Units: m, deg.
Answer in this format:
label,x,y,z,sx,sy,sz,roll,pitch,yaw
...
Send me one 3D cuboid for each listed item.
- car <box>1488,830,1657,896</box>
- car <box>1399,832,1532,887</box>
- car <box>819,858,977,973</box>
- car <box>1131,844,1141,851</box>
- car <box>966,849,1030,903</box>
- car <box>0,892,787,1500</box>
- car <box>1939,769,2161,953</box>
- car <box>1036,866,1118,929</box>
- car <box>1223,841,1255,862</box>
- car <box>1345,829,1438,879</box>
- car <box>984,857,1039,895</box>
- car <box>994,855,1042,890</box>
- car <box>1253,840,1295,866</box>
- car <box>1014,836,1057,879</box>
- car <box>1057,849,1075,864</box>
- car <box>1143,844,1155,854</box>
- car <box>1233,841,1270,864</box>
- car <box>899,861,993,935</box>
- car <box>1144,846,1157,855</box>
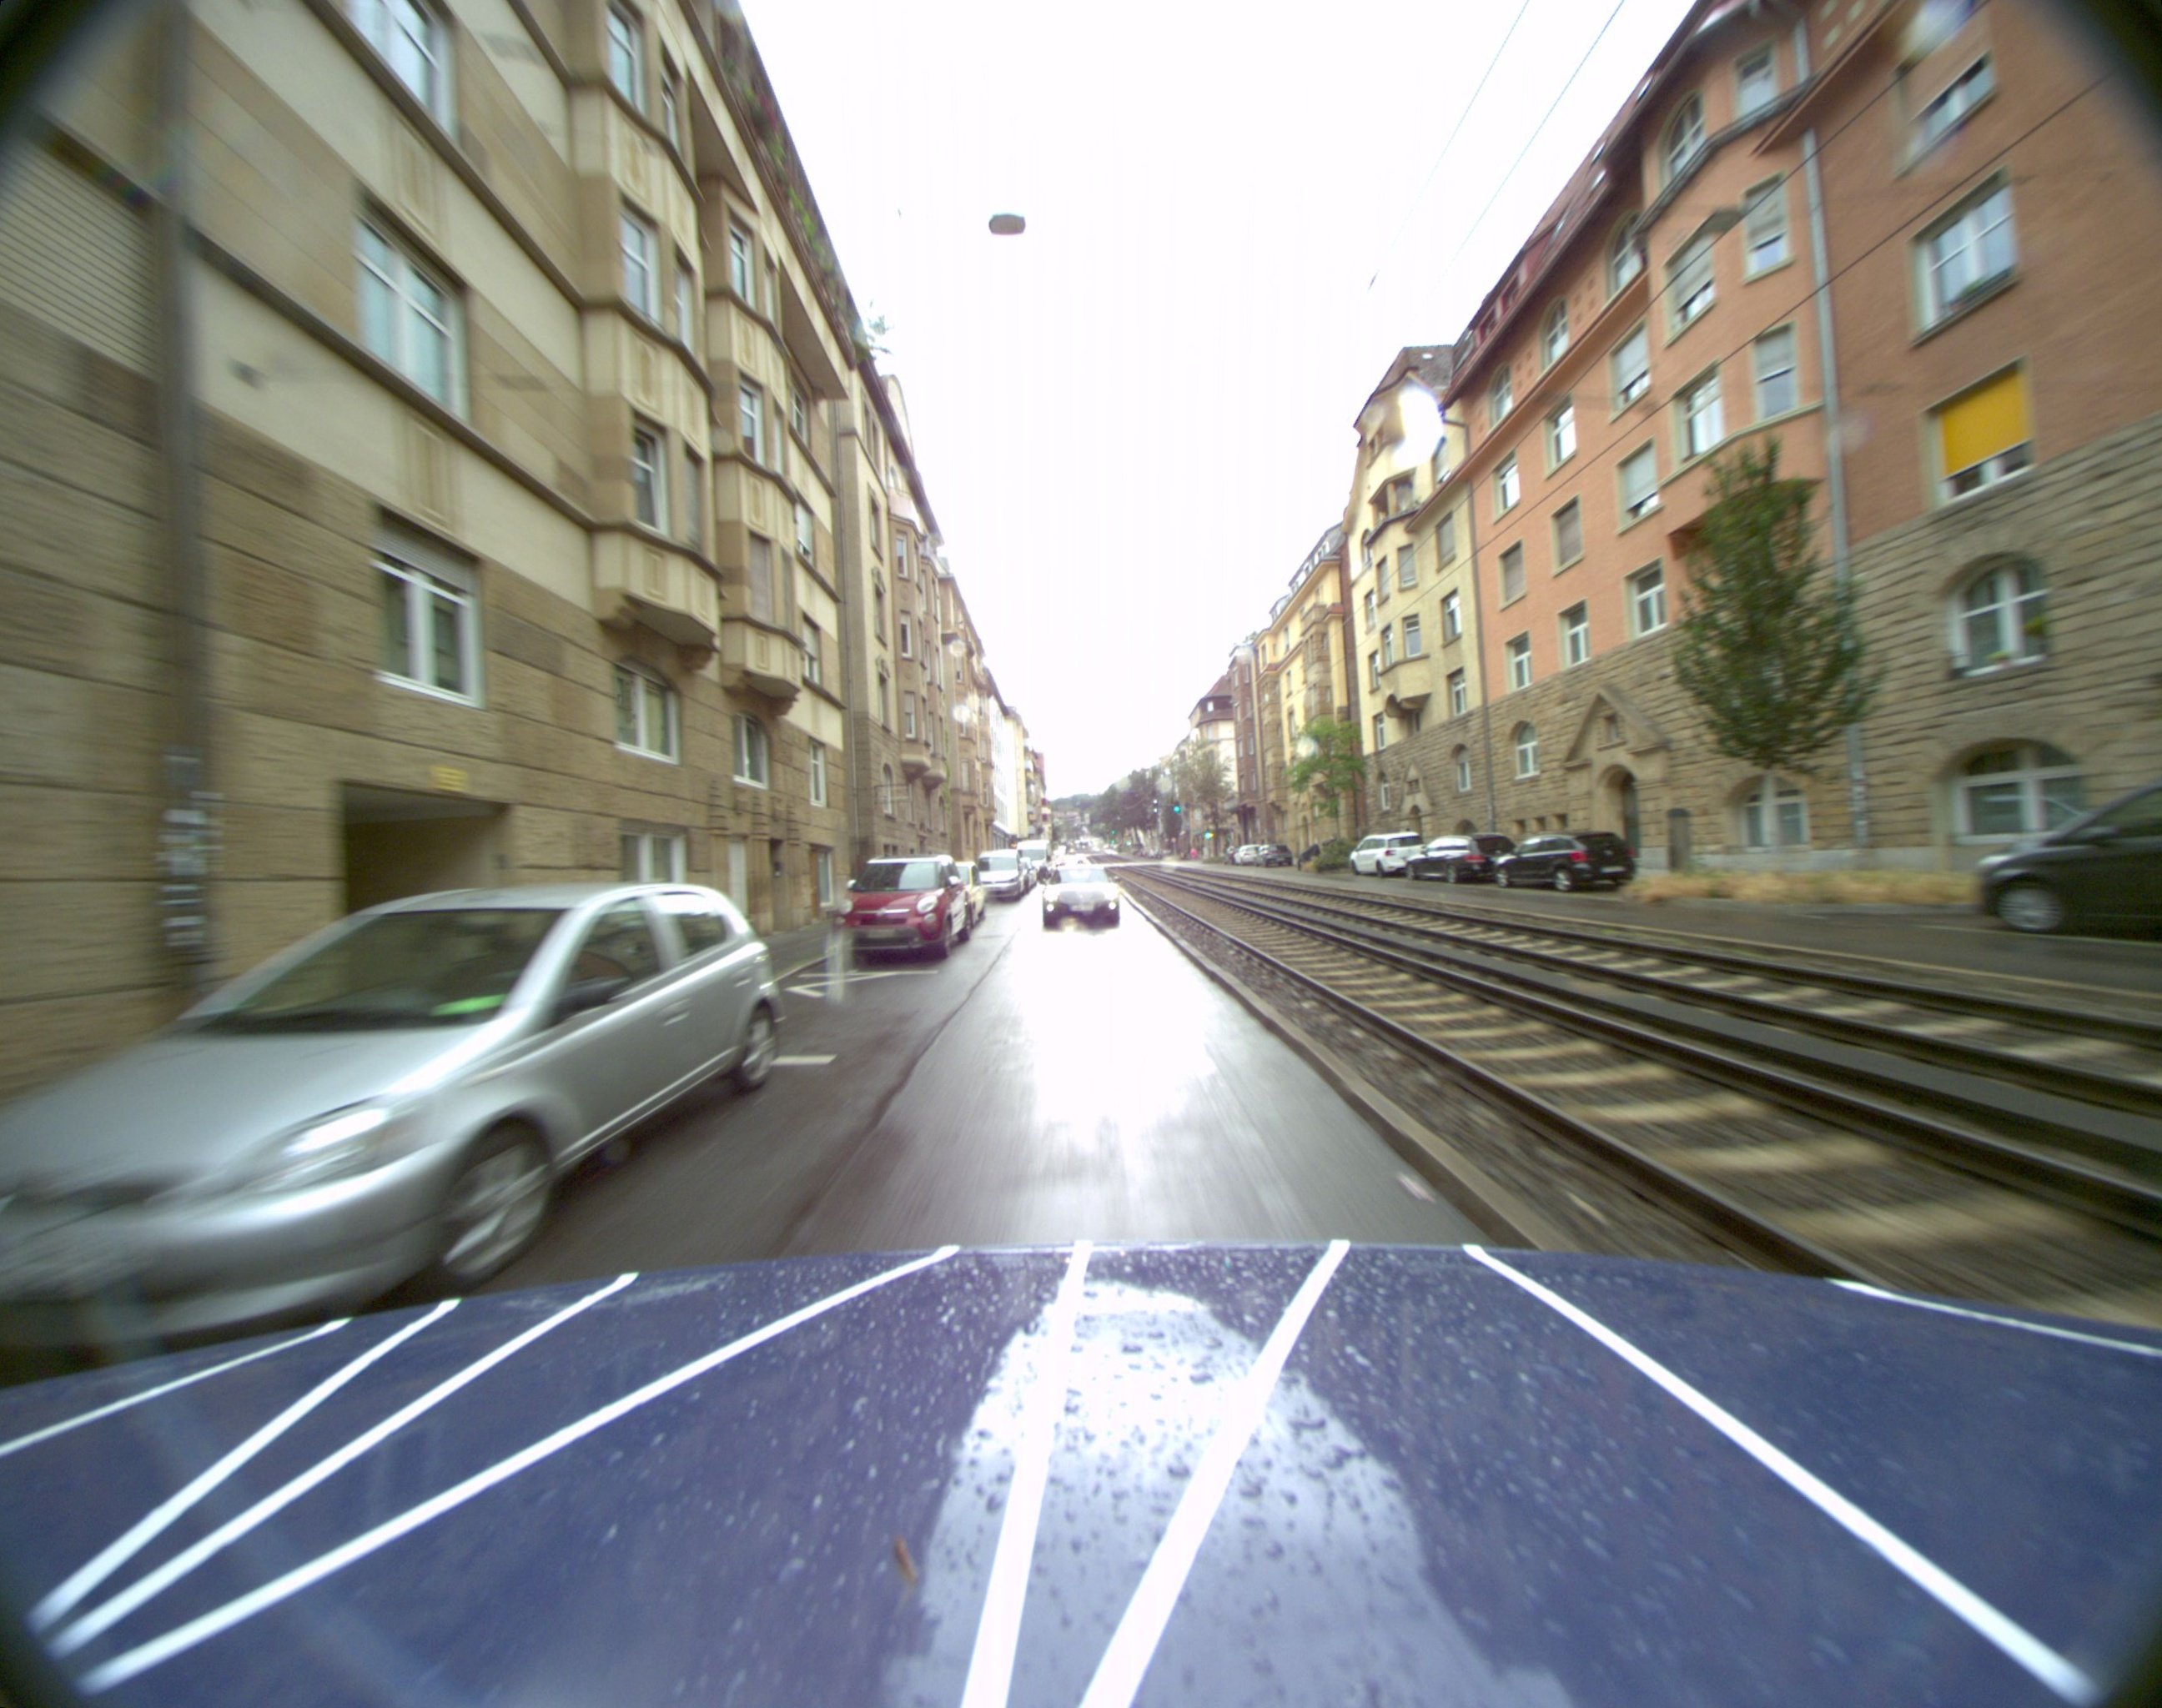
label,x,y,z,sx,sy,sz,roll,pitch,yaw
car,12.453,0.184,19.559,1.760,1.396,3.694,-5,1,-2
car,12.187,0.125,24.463,1.760,1.482,4.597,-5,1,-2
car,-2.946,0.909,13.119,1.774,1.592,3.999,-2,0,-1
car,12.081,-1.424,166.629,1.794,1.339,4.257,-2,1,0
car,-2.981,0.748,27.970,1.811,1.758,3.962,-3,0,0
car,-3.022,1.055,3.868,1.598,1.478,3.522,-2,0,1
car,12.236,0.039,7.556,1.911,1.919,4.831,-2,1,0
car,-0.056,0.965,18.402,1.737,1.262,4.258,-1,0,1
car,12.381,-0.200,59.827,1.759,1.419,3.712,-5,1,2
car,12.183,-0.028,30.126,1.760,1.663,4.259,-5,1,0
car,-2.972,0.918,33.144,1.931,1.380,3.982,-3,0,0
car,-3.068,0.855,37.770,1.935,1.516,4.058,-3,0,0
car,12.357,-0.103,48.784,1.717,1.473,3.712,-5,1,2
car,-2.847,0.183,48.949,1.991,2.520,6.154,-3,0,3
car,-1.668,0.255,85.795,1.794,1.459,4.257,-2,1,1
car,12.159,-0.889,136.196,1.794,1.609,4.257,-2,1,0
car,12.270,-0.118,54.846,1.759,1.443,4.043,-5,1,2
car,-3.179,0.984,18.531,1.632,1.502,3.531,-3,0,-1
car,11.430,-0.560,125.016,1.794,1.339,4.257,-2,1,0
